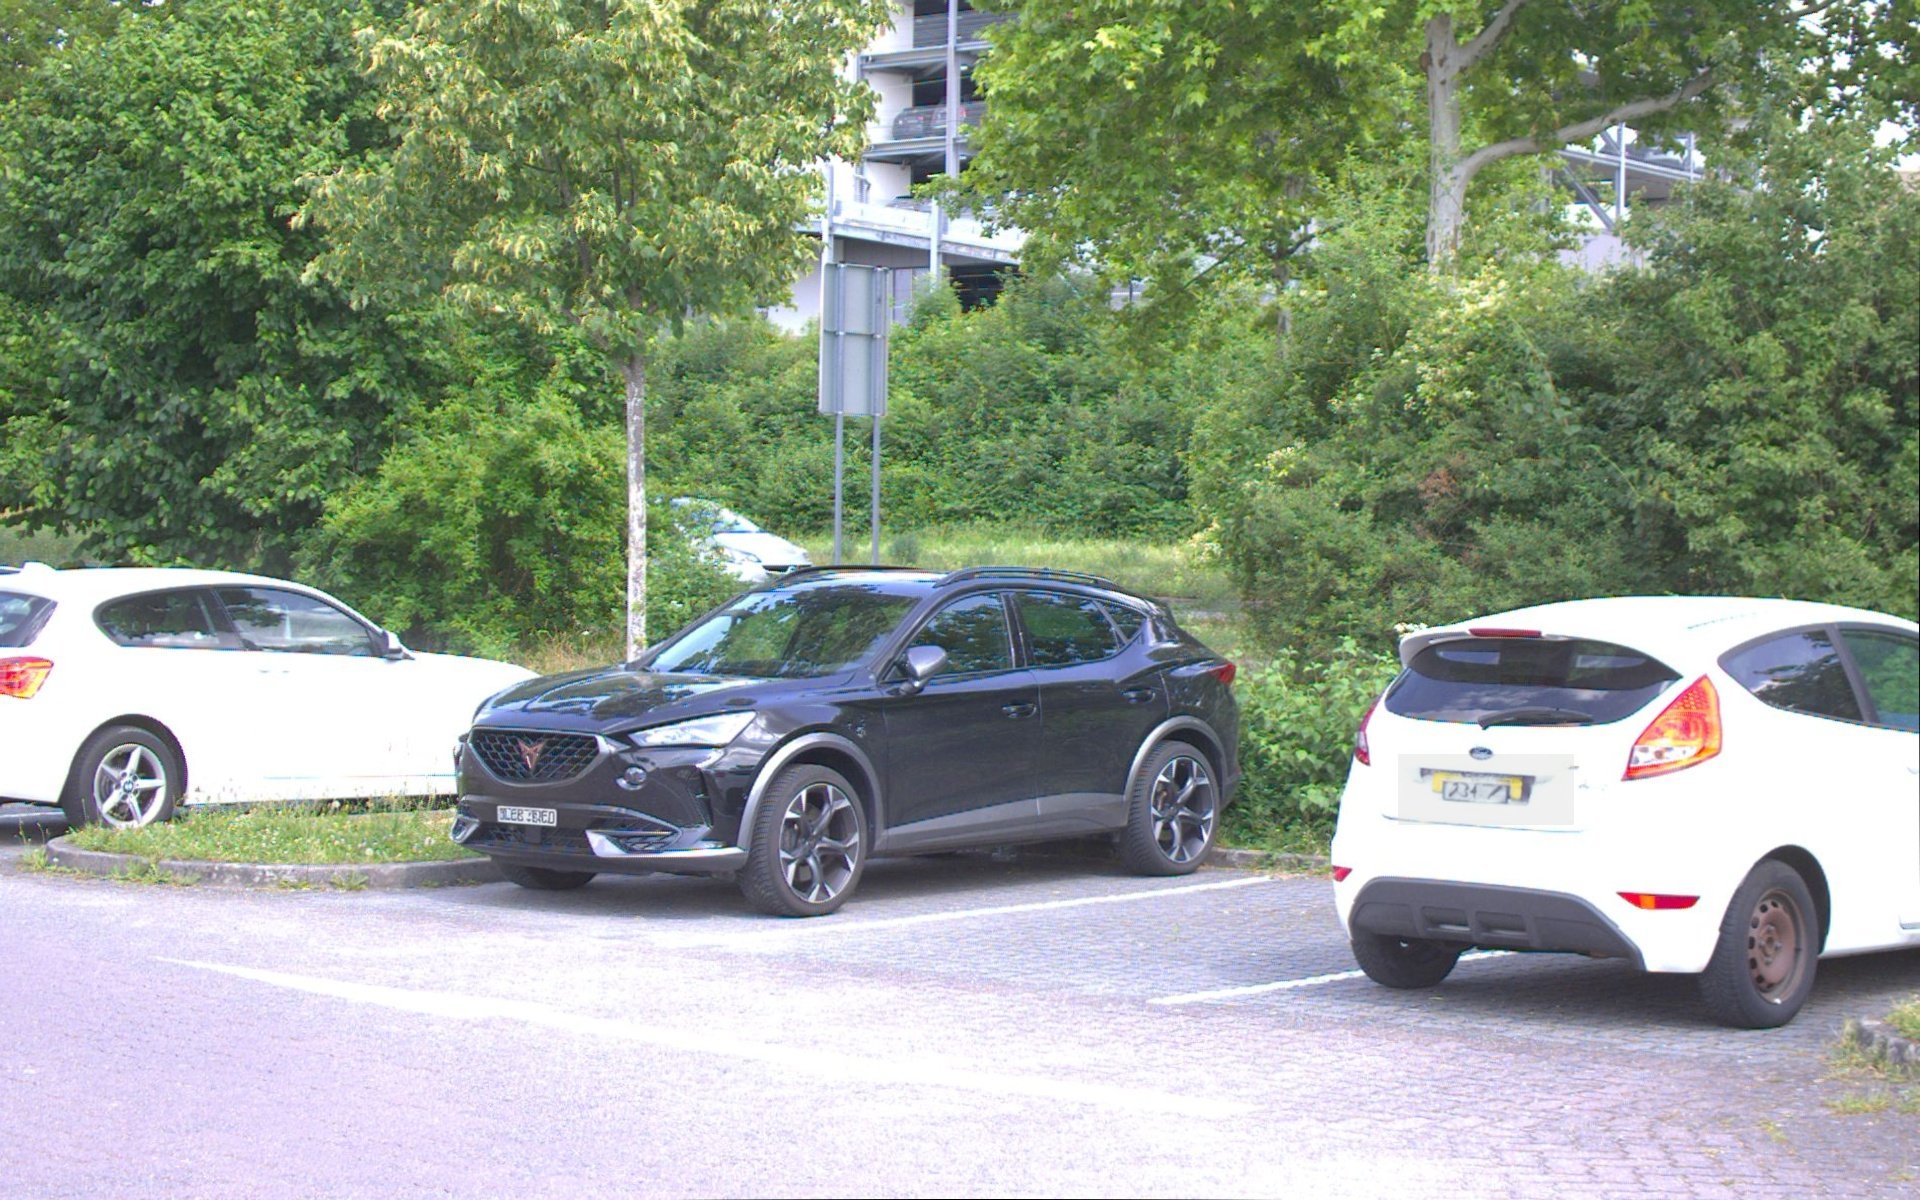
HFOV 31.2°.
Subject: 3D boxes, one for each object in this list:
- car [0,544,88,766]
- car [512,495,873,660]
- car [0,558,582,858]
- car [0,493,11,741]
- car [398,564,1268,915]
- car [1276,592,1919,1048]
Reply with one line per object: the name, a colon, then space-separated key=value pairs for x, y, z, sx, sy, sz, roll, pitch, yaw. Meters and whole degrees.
car: x=-8.103 y=0.362 z=21.925 sx=1.838 sy=1.446 sz=4.714 roll=2 pitch=2 yaw=41
car: x=-3.506 y=-0.286 z=44.700 sx=4.491 sy=2.007 sz=1.914 roll=1 pitch=-2 yaw=37
car: x=-4.208 y=0.517 z=19.122 sx=1.689 sy=1.504 sz=4.071 roll=1 pitch=1 yaw=43
car: x=-9.441 y=0.129 z=24.193 sx=1.989 sy=1.836 sz=5.136 roll=2 pitch=2 yaw=39
car: x=-0.470 y=0.553 z=16.346 sx=1.732 sy=1.405 sz=4.233 roll=2 pitch=2 yaw=40
car: x=2.974 y=0.705 z=12.915 sx=1.669 sy=1.407 sz=3.548 roll=2 pitch=2 yaw=45
